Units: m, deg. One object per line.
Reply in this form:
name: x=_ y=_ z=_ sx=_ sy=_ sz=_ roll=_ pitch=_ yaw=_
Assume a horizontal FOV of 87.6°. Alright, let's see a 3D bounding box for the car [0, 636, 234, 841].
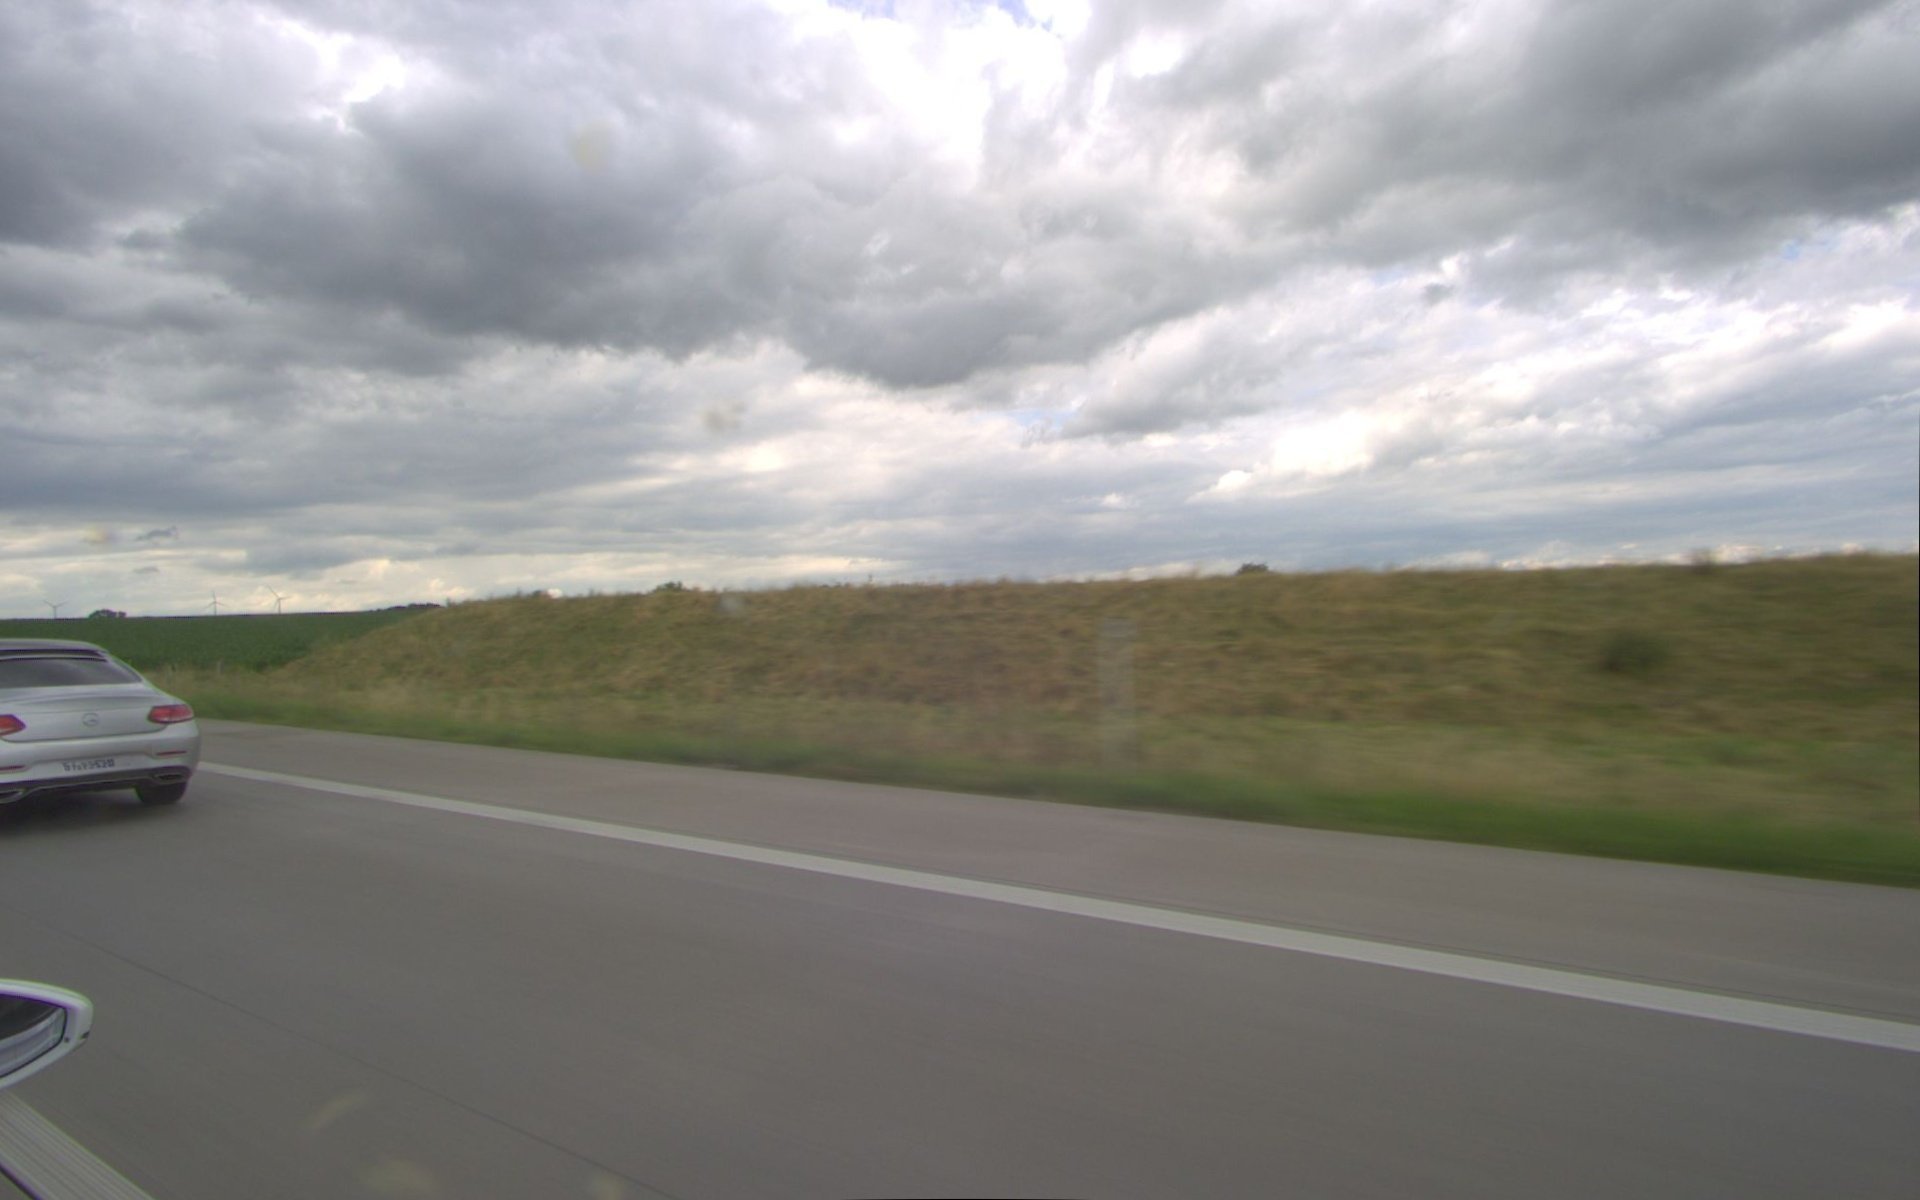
car: x=-8.198 y=1.034 z=8.576 sx=4.161 sy=1.421 sz=1.786 roll=-2 pitch=-2 yaw=32
